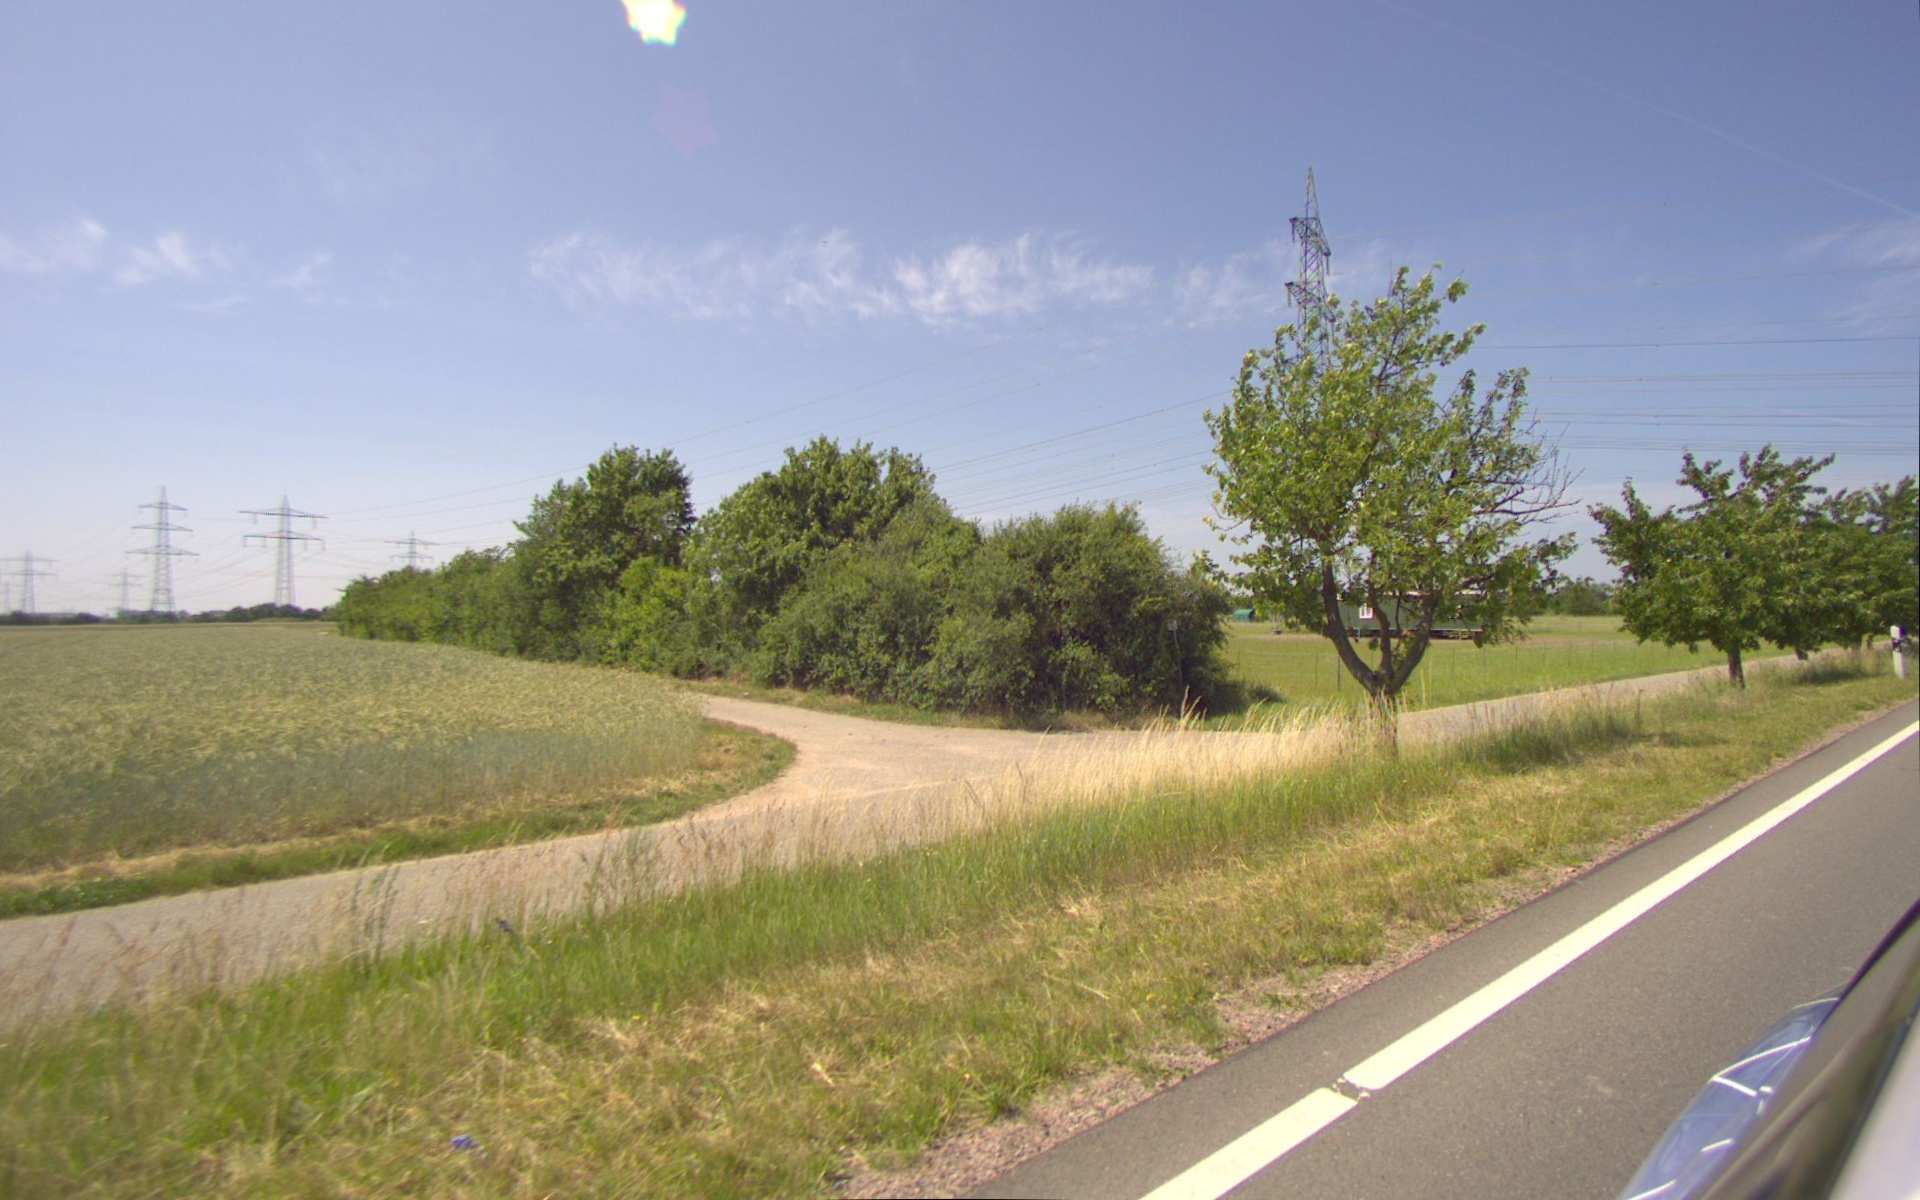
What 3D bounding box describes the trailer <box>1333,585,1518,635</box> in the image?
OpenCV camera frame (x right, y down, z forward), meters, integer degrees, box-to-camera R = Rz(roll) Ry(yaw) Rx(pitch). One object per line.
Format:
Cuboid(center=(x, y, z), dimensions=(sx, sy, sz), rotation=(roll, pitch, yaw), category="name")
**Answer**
Cuboid(center=(35.258, 0.826, 77.368), dimensions=(3.738, 3.517, 12.433), rotation=(0, -1, -40), category="trailer")
